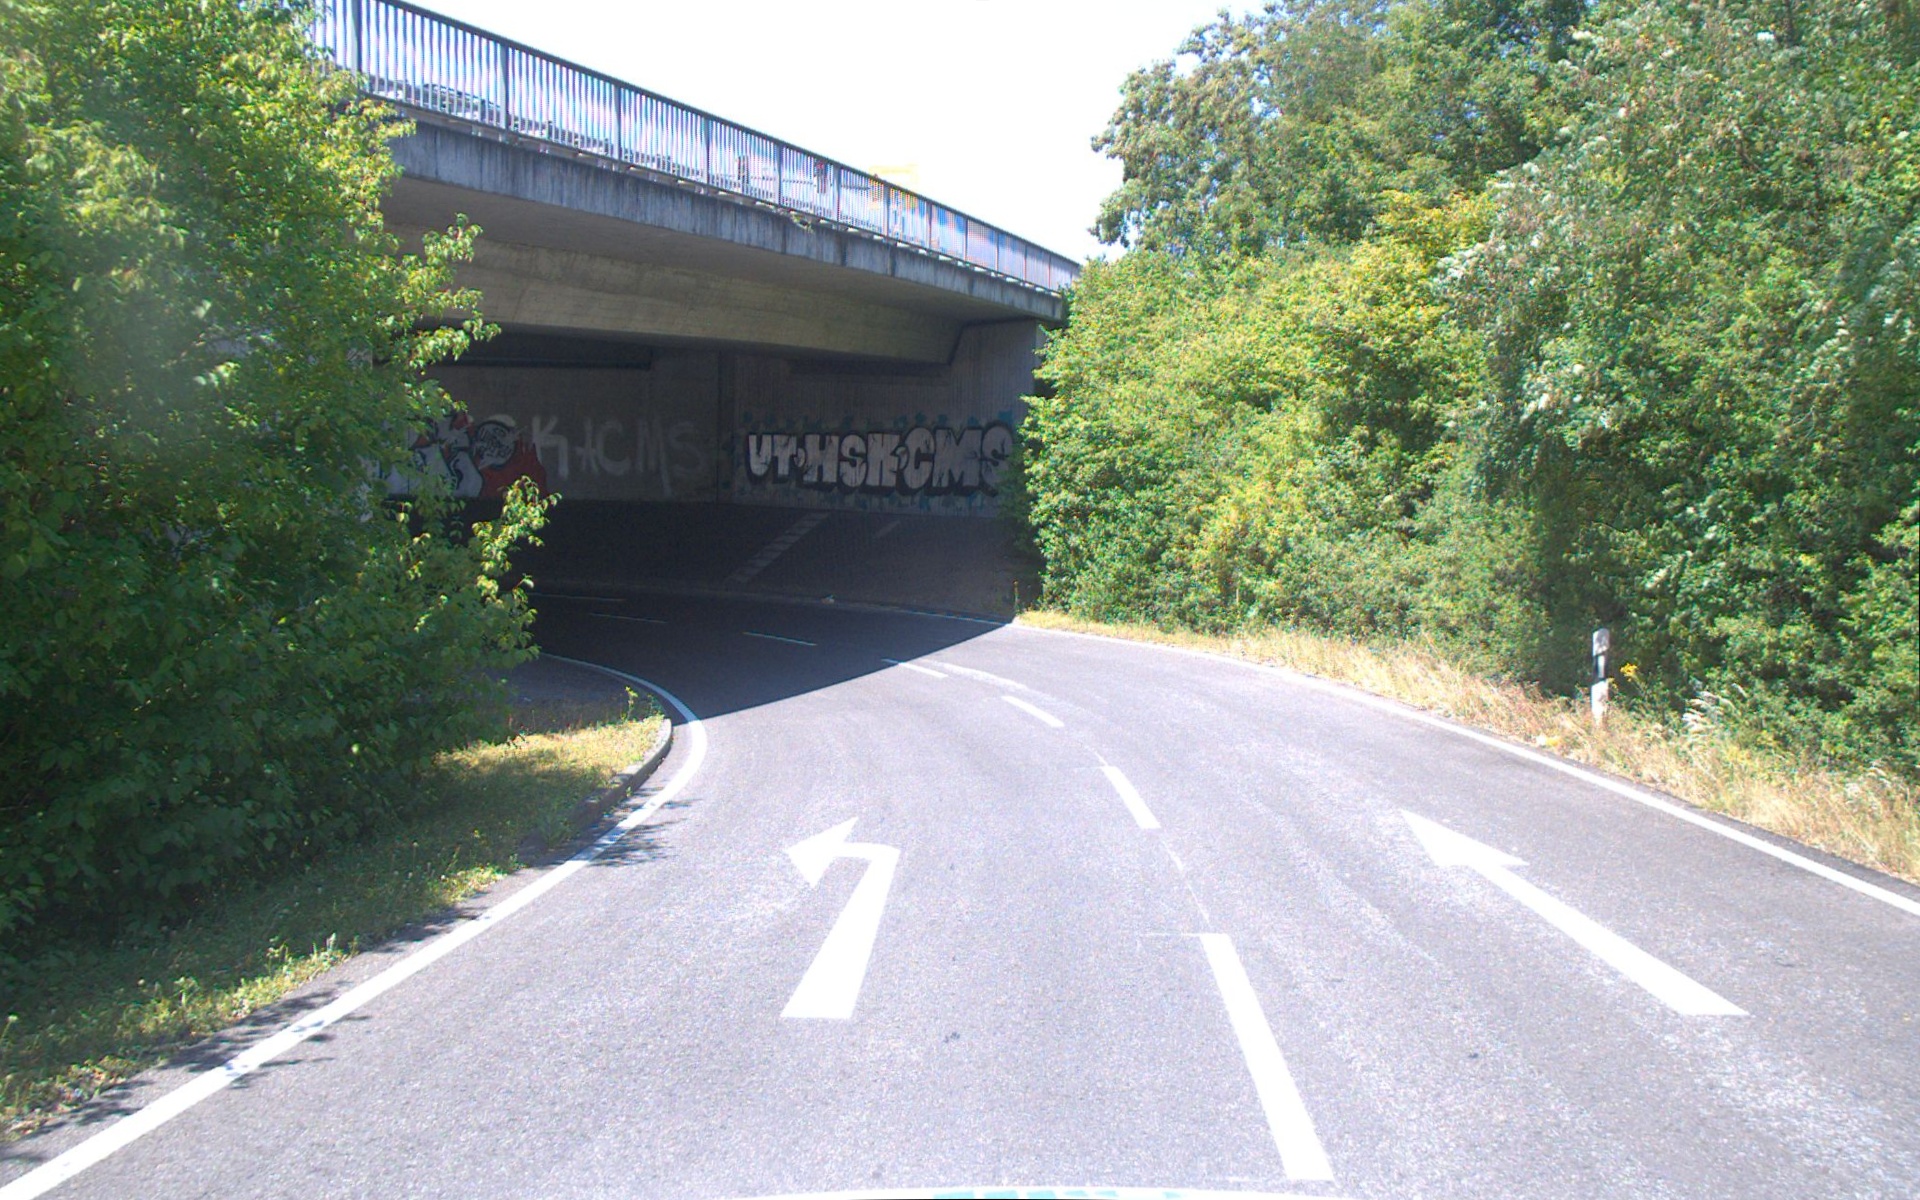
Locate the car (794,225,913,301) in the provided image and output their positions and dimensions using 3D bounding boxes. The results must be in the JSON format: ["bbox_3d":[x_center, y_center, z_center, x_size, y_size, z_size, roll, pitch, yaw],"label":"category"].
[{"bbox_3d":[-2.352,-7.536,37.220,1.577,1.210,3.483,2,4,16],"label":"car"}]
